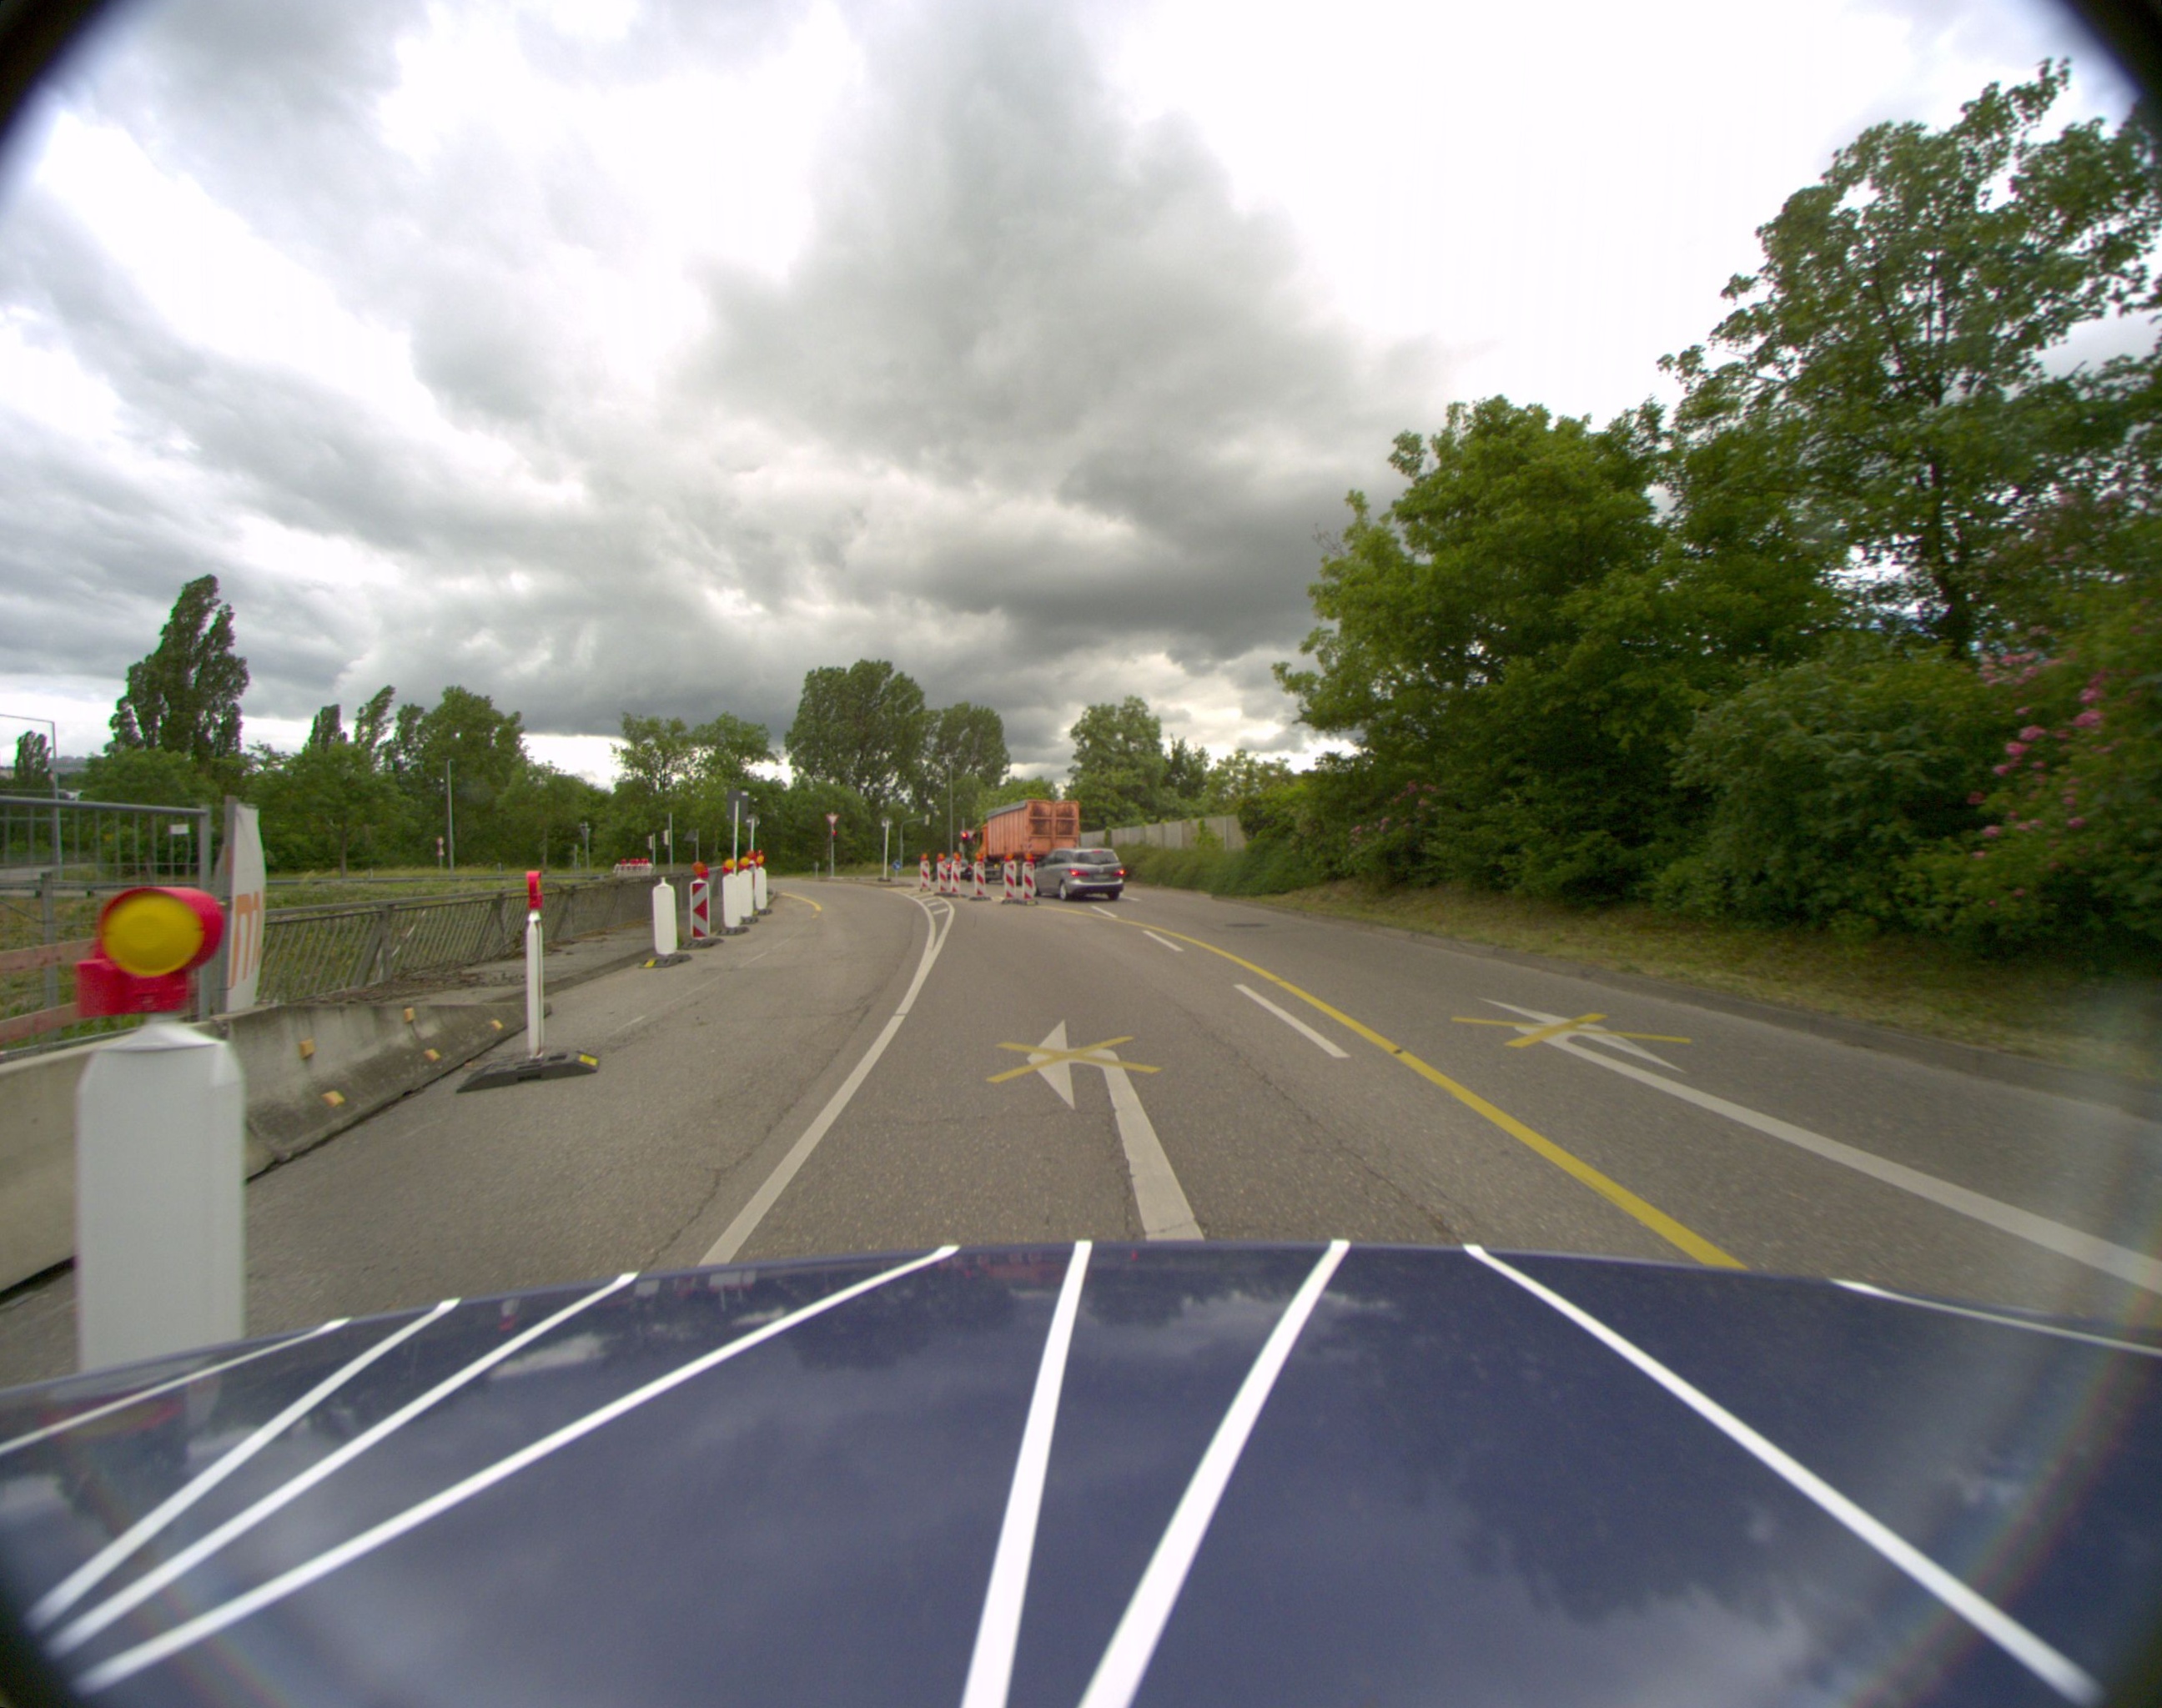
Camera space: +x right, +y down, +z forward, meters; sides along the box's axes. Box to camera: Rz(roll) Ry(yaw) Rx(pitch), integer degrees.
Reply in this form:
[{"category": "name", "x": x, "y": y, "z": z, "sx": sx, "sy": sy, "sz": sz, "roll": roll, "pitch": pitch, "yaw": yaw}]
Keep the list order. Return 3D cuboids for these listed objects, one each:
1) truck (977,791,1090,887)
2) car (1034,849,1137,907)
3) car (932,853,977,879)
[{"category": "truck", "x": -2.709, "y": -0.672, "z": 38.465, "sx": 3.123, "sy": 4.196, "sz": 9.776, "roll": -1, "pitch": 0, "yaw": -19}, {"category": "car", "x": 0.024, "y": 0.648, "z": 23.094, "sx": 1.639, "sy": 1.536, "sz": 4.343, "roll": -2, "pitch": 1, "yaw": -20}, {"category": "car", "x": -8.197, "y": 0.790, "z": 49.071, "sx": 1.646, "sy": 1.542, "sz": 3.780, "roll": 1, "pitch": -2, "yaw": -29}]
